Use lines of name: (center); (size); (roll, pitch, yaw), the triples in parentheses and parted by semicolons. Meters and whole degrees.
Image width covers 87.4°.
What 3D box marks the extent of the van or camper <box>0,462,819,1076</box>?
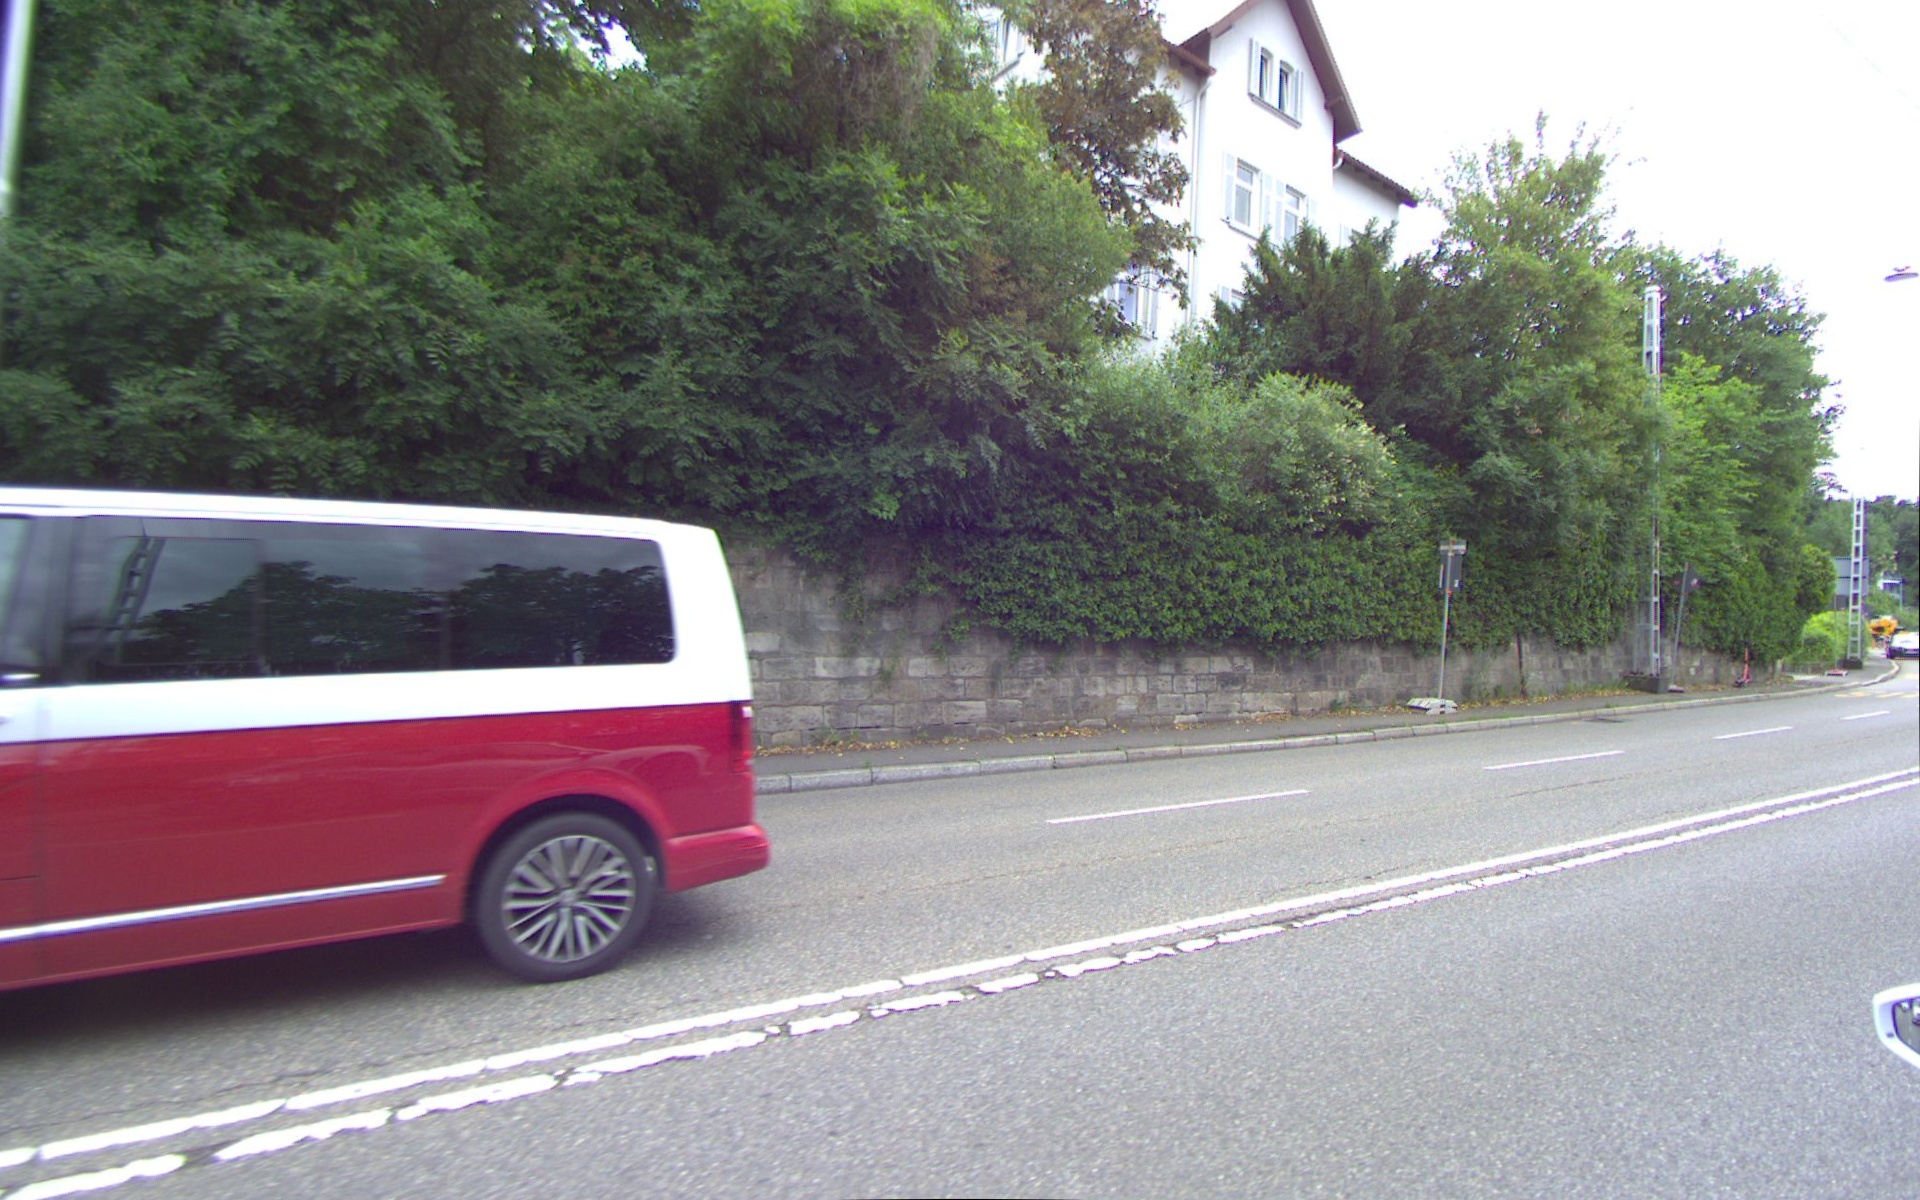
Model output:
van or camper: (-3.122, 0.563, 4.139); (4.711, 1.903, 1.880); (1, -3, -31)

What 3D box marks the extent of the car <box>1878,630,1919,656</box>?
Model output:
car: (54.683, 2.481, 58.249); (1.873, 1.400, 3.982); (-1, -1, 39)

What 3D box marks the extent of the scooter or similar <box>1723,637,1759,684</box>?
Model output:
scooter or similar: (21.167, 1.630, 27.216); (1.270, 1.221, 0.532); (1, 1, -43)

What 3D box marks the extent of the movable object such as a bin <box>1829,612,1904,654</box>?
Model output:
movable object such as a bin: (84.866, 3.097, 94.202); (3.479, 3.748, 7.483); (-1, -2, 28)
